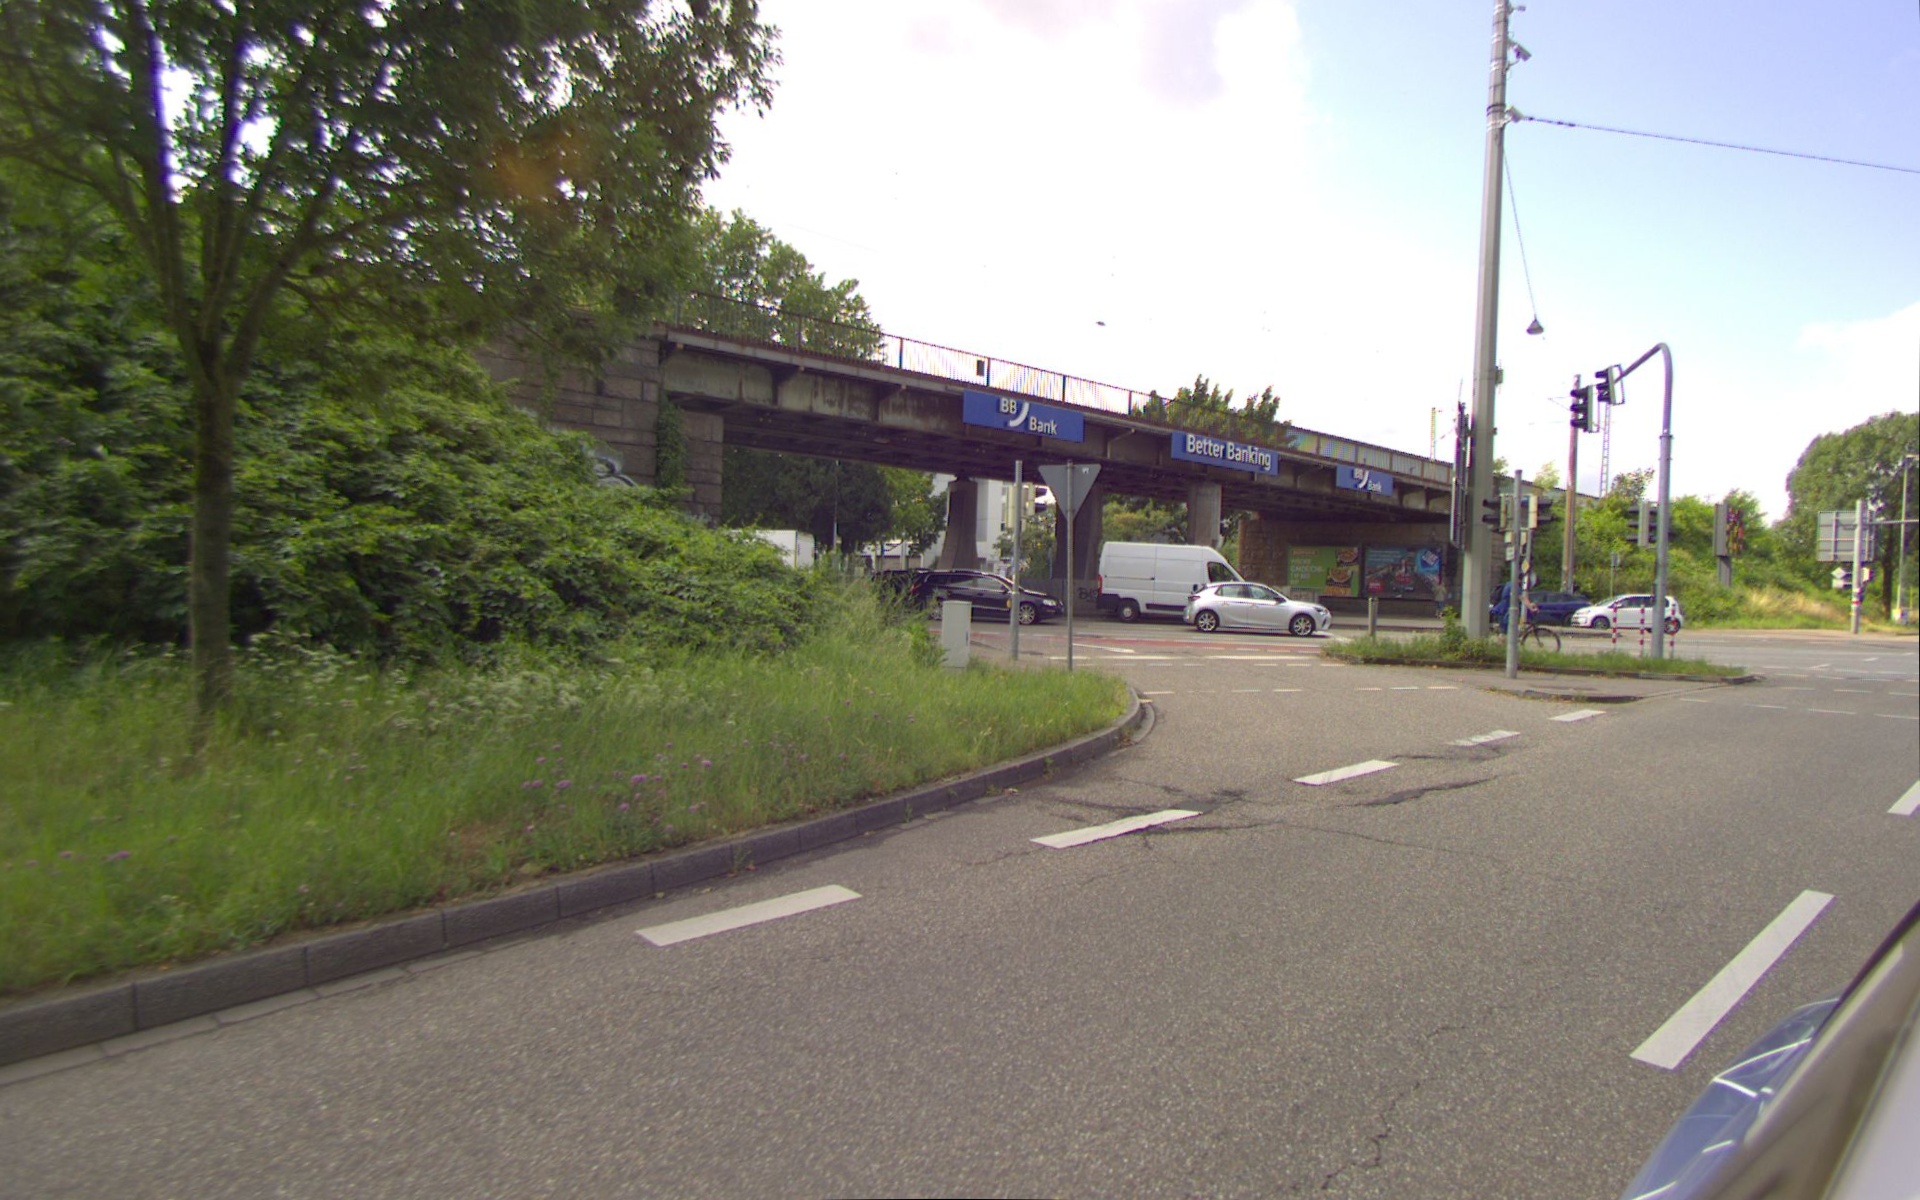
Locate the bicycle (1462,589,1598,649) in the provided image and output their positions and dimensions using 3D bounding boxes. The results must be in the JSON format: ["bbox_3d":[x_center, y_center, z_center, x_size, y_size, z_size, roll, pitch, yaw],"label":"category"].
[{"bbox_3d":[11.570,0.360,20.645,2.291,1.107,0.839,2,1,22],"label":"bicycle"}]

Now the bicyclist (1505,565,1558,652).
[{"bbox_3d":[11.625,0.161,20.603,0.814,1.698,0.840,0,4,22],"label":"bicyclist"}]

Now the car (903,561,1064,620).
[{"bbox_3d":[0.741,-0.326,30.034,4.589,1.602,1.766,1,3,10],"label":"car"}]

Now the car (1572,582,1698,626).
[{"bbox_3d":[25.875,0.126,38.920,3.547,1.504,1.731,2,1,13],"label":"car"}]

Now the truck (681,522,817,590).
[{"bbox_3d":[-10.160,-2.106,48.966,5.927,3.161,2.449,1,0,9],"label":"truck"}]

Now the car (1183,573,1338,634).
[{"bbox_3d":[8.206,0.055,27.964,3.940,1.494,1.702,2,2,14],"label":"car"}]

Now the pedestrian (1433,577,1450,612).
[{"bbox_3d":[23.054,-0.269,48.488,0.601,1.670,0.689,-1,3,16],"label":"pedestrian"}]

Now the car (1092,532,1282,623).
[{"bbox_3d":[7.081,-0.707,31.620,5.546,2.555,2.257,-1,5,16],"label":"car"}]

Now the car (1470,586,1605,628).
[{"bbox_3d":[24.245,0.263,42.662,4.515,1.594,1.884,1,3,15],"label":"car"}]
